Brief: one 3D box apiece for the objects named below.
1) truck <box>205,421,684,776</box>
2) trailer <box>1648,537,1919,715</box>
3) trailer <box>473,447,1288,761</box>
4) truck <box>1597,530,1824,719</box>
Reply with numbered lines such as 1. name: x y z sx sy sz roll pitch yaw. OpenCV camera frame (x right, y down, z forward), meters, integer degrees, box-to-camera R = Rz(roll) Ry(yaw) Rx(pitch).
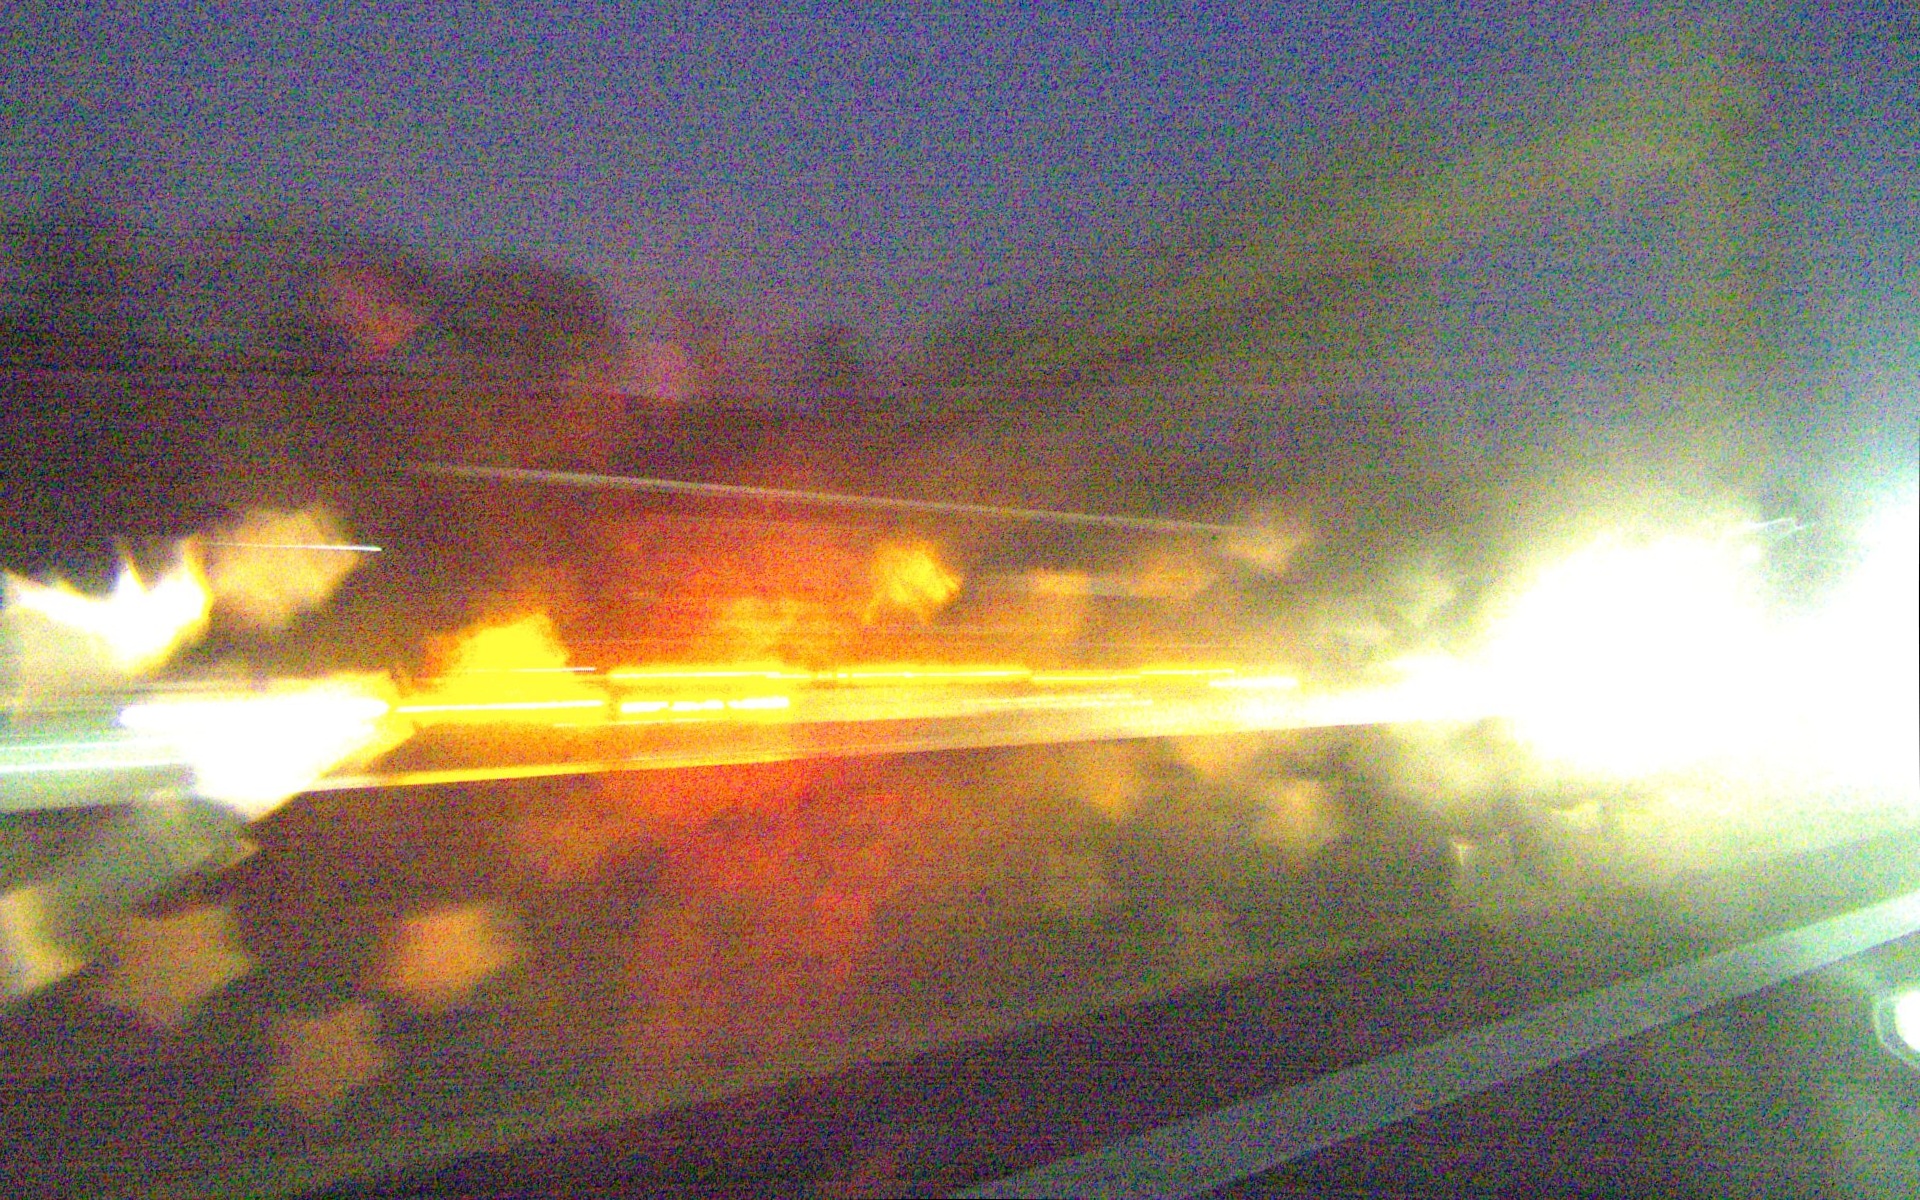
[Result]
1. truck: -7.255 0.032 14.694 5.667 4.277 2.678 1 0 -30
2. trailer: 25.632 0.803 29.744 14.459 4.436 2.678 2 0 -30
3. trailer: -0.374 0.227 18.715 15.459 4.277 2.677 2 0 -30
4. truck: 19.645 0.631 26.244 5.667 4.440 2.678 1 0 -30
